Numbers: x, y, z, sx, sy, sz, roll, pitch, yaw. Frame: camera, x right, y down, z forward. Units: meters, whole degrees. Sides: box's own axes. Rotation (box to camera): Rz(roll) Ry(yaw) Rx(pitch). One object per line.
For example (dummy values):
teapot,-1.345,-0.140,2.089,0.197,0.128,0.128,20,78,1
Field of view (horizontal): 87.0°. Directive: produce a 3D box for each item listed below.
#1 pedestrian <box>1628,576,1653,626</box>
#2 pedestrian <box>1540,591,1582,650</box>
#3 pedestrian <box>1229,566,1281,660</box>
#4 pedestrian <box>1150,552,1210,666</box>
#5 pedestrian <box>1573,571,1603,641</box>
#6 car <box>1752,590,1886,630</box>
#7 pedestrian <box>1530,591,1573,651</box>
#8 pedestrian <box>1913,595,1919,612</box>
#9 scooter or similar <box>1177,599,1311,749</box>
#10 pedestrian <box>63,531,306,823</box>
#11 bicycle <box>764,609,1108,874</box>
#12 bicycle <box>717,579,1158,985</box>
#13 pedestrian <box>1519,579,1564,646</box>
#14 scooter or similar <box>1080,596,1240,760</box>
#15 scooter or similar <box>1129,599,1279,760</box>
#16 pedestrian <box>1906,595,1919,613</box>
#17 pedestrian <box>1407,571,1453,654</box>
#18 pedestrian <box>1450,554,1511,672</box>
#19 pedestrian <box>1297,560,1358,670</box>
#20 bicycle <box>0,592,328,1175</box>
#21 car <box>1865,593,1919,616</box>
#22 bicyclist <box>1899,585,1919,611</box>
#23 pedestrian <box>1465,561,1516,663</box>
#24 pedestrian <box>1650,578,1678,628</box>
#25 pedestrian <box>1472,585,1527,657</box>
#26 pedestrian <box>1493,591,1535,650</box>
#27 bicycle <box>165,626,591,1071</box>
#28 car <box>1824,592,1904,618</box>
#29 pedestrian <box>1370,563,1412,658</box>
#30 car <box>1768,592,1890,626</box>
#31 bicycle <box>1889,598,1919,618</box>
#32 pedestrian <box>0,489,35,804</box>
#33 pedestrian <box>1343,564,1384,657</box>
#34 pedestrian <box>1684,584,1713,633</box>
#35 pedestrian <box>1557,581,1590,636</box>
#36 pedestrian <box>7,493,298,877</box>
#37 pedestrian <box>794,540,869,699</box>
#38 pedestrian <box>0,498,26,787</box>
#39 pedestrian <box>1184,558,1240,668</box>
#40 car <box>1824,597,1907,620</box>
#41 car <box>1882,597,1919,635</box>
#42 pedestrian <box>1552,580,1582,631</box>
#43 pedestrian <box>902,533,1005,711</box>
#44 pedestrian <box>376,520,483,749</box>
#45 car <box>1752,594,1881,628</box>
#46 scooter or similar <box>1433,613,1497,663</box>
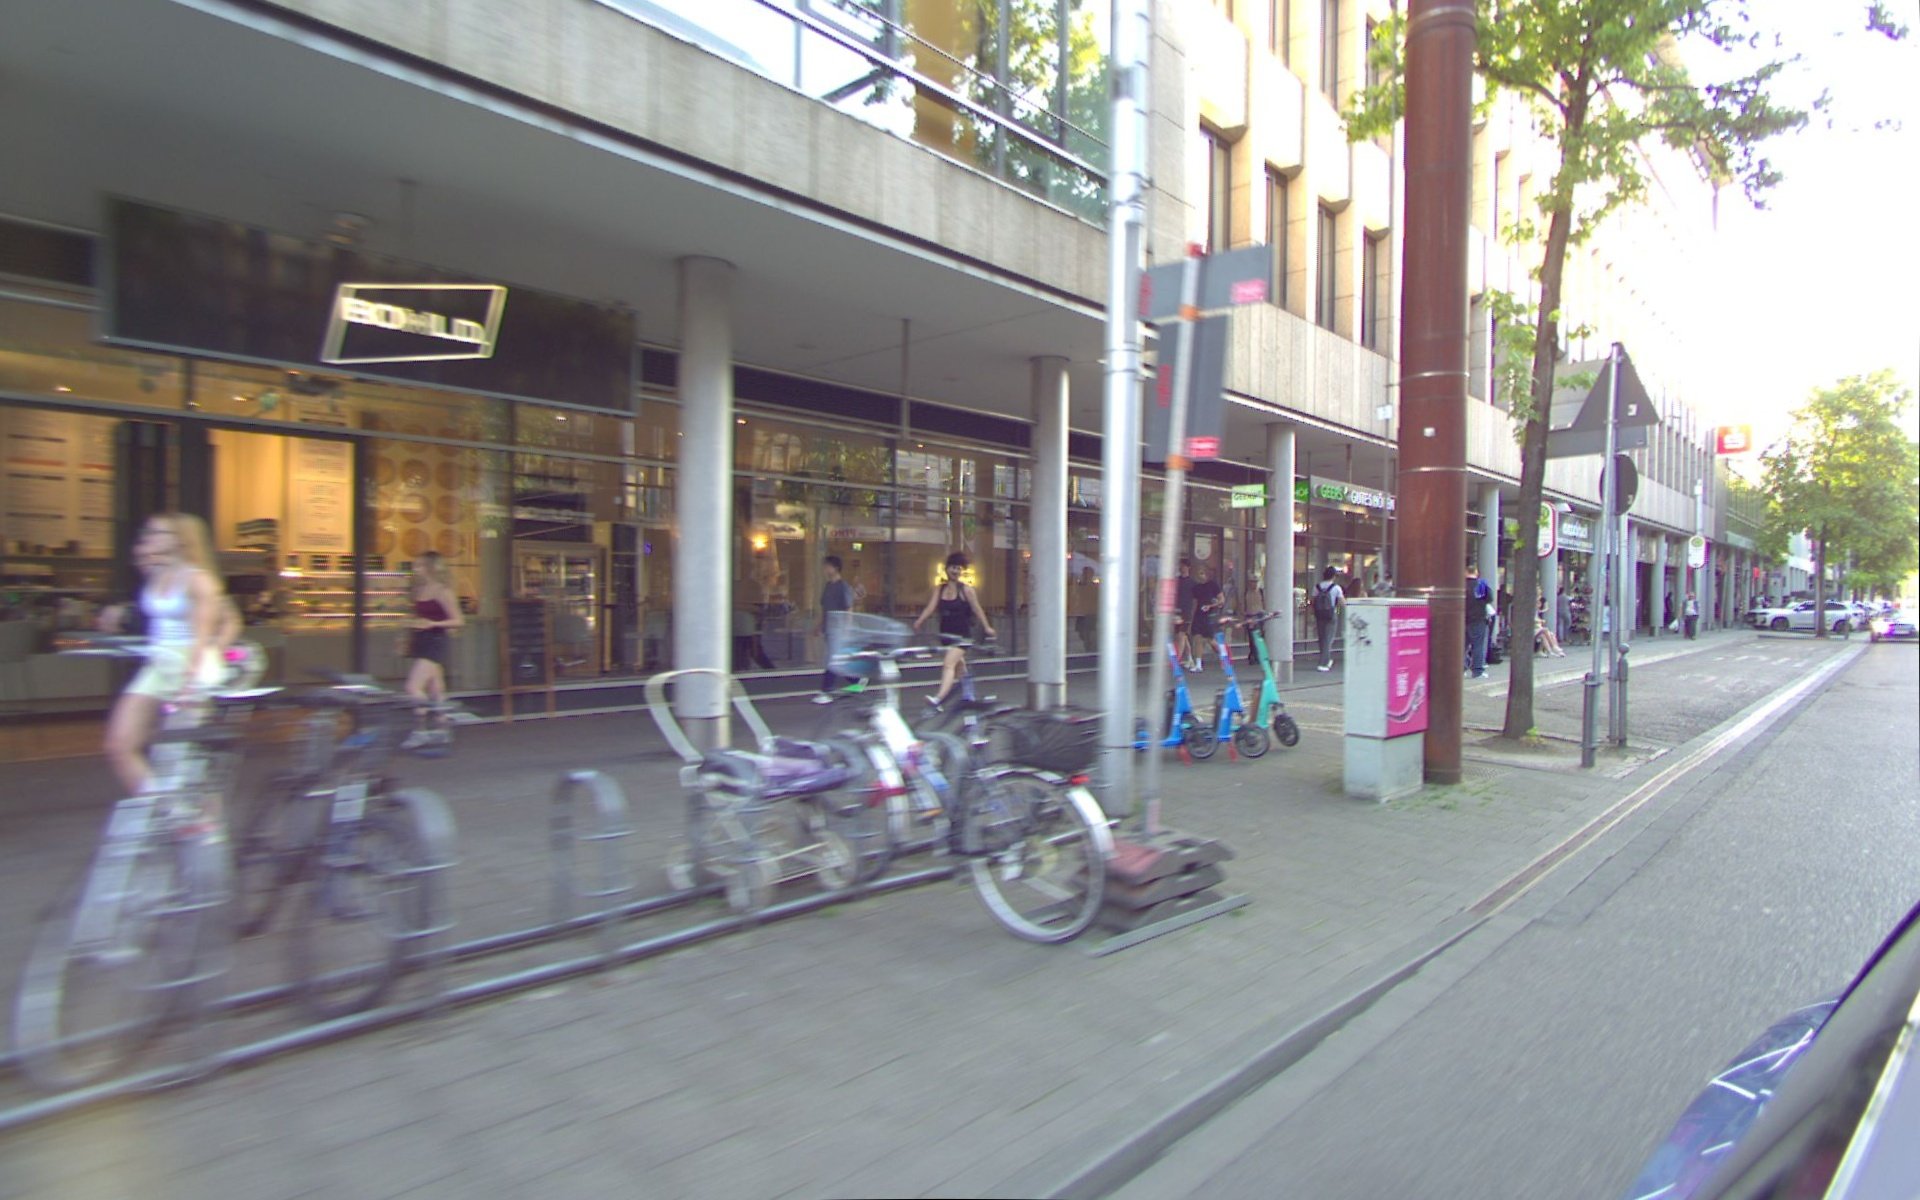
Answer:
pedestrian,26.417,0.046,39.292,0.672,1.913,0.617,0,1,-44
pedestrian,13.728,0.450,23.132,0.516,1.331,0.718,0,0,-43
pedestrian,5.467,0.228,18.775,0.669,1.682,0.649,0,1,-44
pedestrian,3.795,0.139,17.459,0.687,1.906,0.761,2,1,44
pedestrian,18.085,0.156,29.140,0.578,1.968,0.645,2,1,45
car,42.111,0.478,49.733,4.569,1.650,1.910,3,0,14
pedestrian,13.316,0.455,22.799,0.523,1.331,0.718,0,0,-43
pedestrian,82.182,0.314,86.664,0.644,1.478,0.644,1,0,28
scooter or similar,2.560,0.645,9.188,1.100,1.267,0.494,2,1,15
pedestrian,-4.480,0.398,5.894,0.793,1.555,0.807,1,1,14
bicycle,-0.204,0.699,5.848,1.994,1.169,0.715,4,2,41
bicycle,-0.179,0.627,4.443,1.913,1.349,0.715,4,2,41
pedestrian,14.040,0.286,24.431,0.724,1.589,0.725,0,1,-43
scooter or similar,1.612,0.622,8.203,1.167,1.267,0.394,2,0,-7
scooter or similar,2.061,0.645,8.573,1.174,1.267,0.391,2,0,16
pedestrian,80.116,0.335,85.090,0.644,1.478,0.644,1,0,28
pedestrian,9.806,0.247,21.124,0.639,1.682,0.648,0,1,-45
pedestrian,8.451,0.192,16.426,0.669,1.862,0.697,2,1,44
pedestrian,6.469,0.244,17.809,0.669,1.862,0.866,2,1,45
bicycle,-2.716,0.641,3.122,1.913,1.237,0.752,4,2,41
car,77.469,0.405,83.645,3.917,1.809,1.868,-1,-1,-10
bicyclist,52.957,-0.089,56.258,0.745,1.433,0.898,1,-1,-28
pedestrian,9.986,0.208,19.054,0.657,1.862,0.640,0,1,-44
pedestrian,27.502,0.122,39.535,0.783,1.913,0.707,0,1,-44
pedestrian,10.836,0.406,20.335,0.651,1.398,0.813,0,0,-43
pedestrian,12.722,0.453,23.250,0.523,1.331,0.718,0,0,-43
bicycle,-2.212,0.714,3.720,1.913,1.091,0.752,4,2,41
car,67.502,0.398,75.637,3.951,1.809,1.852,-2,-1,21
pedestrian,8.487,0.202,19.928,0.539,1.829,0.594,2,1,44
car,47.096,0.463,54.954,4.564,1.607,1.912,3,2,11
bicycle,52.965,0.448,56.240,0.718,1.087,1.868,1,0,-27
pedestrian,-5.886,0.260,5.901,0.707,1.809,0.663,0,1,-45
pedestrian,8.095,0.200,20.298,0.539,1.829,0.594,2,1,44
pedestrian,24.849,0.282,34.046,0.668,1.608,0.628,-1,-1,44
pedestrian,19.160,0.260,31.593,0.710,1.682,0.688,0,1,-44
pedestrian,-3.953,0.362,5.004,0.793,1.716,0.807,1,1,14
pedestrian,-1.468,0.205,11.605,0.570,1.753,0.607,2,1,44
pedestrian,-6.388,0.258,6.385,0.707,1.809,0.663,0,1,-45
pedestrian,4.214,0.200,16.939,0.582,1.774,0.761,2,1,44
car,64.462,0.637,72.114,3.943,1.530,1.856,-2,-1,16
car,37.790,0.592,39.925,4.489,1.426,1.796,-1,0,-44
pedestrian,20.201,0.181,33.682,0.681,1.664,0.776,2,1,44
pedestrian,-0.071,0.208,10.796,0.773,1.794,0.762,2,1,44
pedestrian,-4.280,0.253,8.163,0.570,1.753,0.607,2,1,44
car,43.762,0.531,51.844,4.577,1.457,1.907,3,2,18
scooter or similar,9.426,0.704,18.896,0.673,0.895,0.836,0,-1,-31
